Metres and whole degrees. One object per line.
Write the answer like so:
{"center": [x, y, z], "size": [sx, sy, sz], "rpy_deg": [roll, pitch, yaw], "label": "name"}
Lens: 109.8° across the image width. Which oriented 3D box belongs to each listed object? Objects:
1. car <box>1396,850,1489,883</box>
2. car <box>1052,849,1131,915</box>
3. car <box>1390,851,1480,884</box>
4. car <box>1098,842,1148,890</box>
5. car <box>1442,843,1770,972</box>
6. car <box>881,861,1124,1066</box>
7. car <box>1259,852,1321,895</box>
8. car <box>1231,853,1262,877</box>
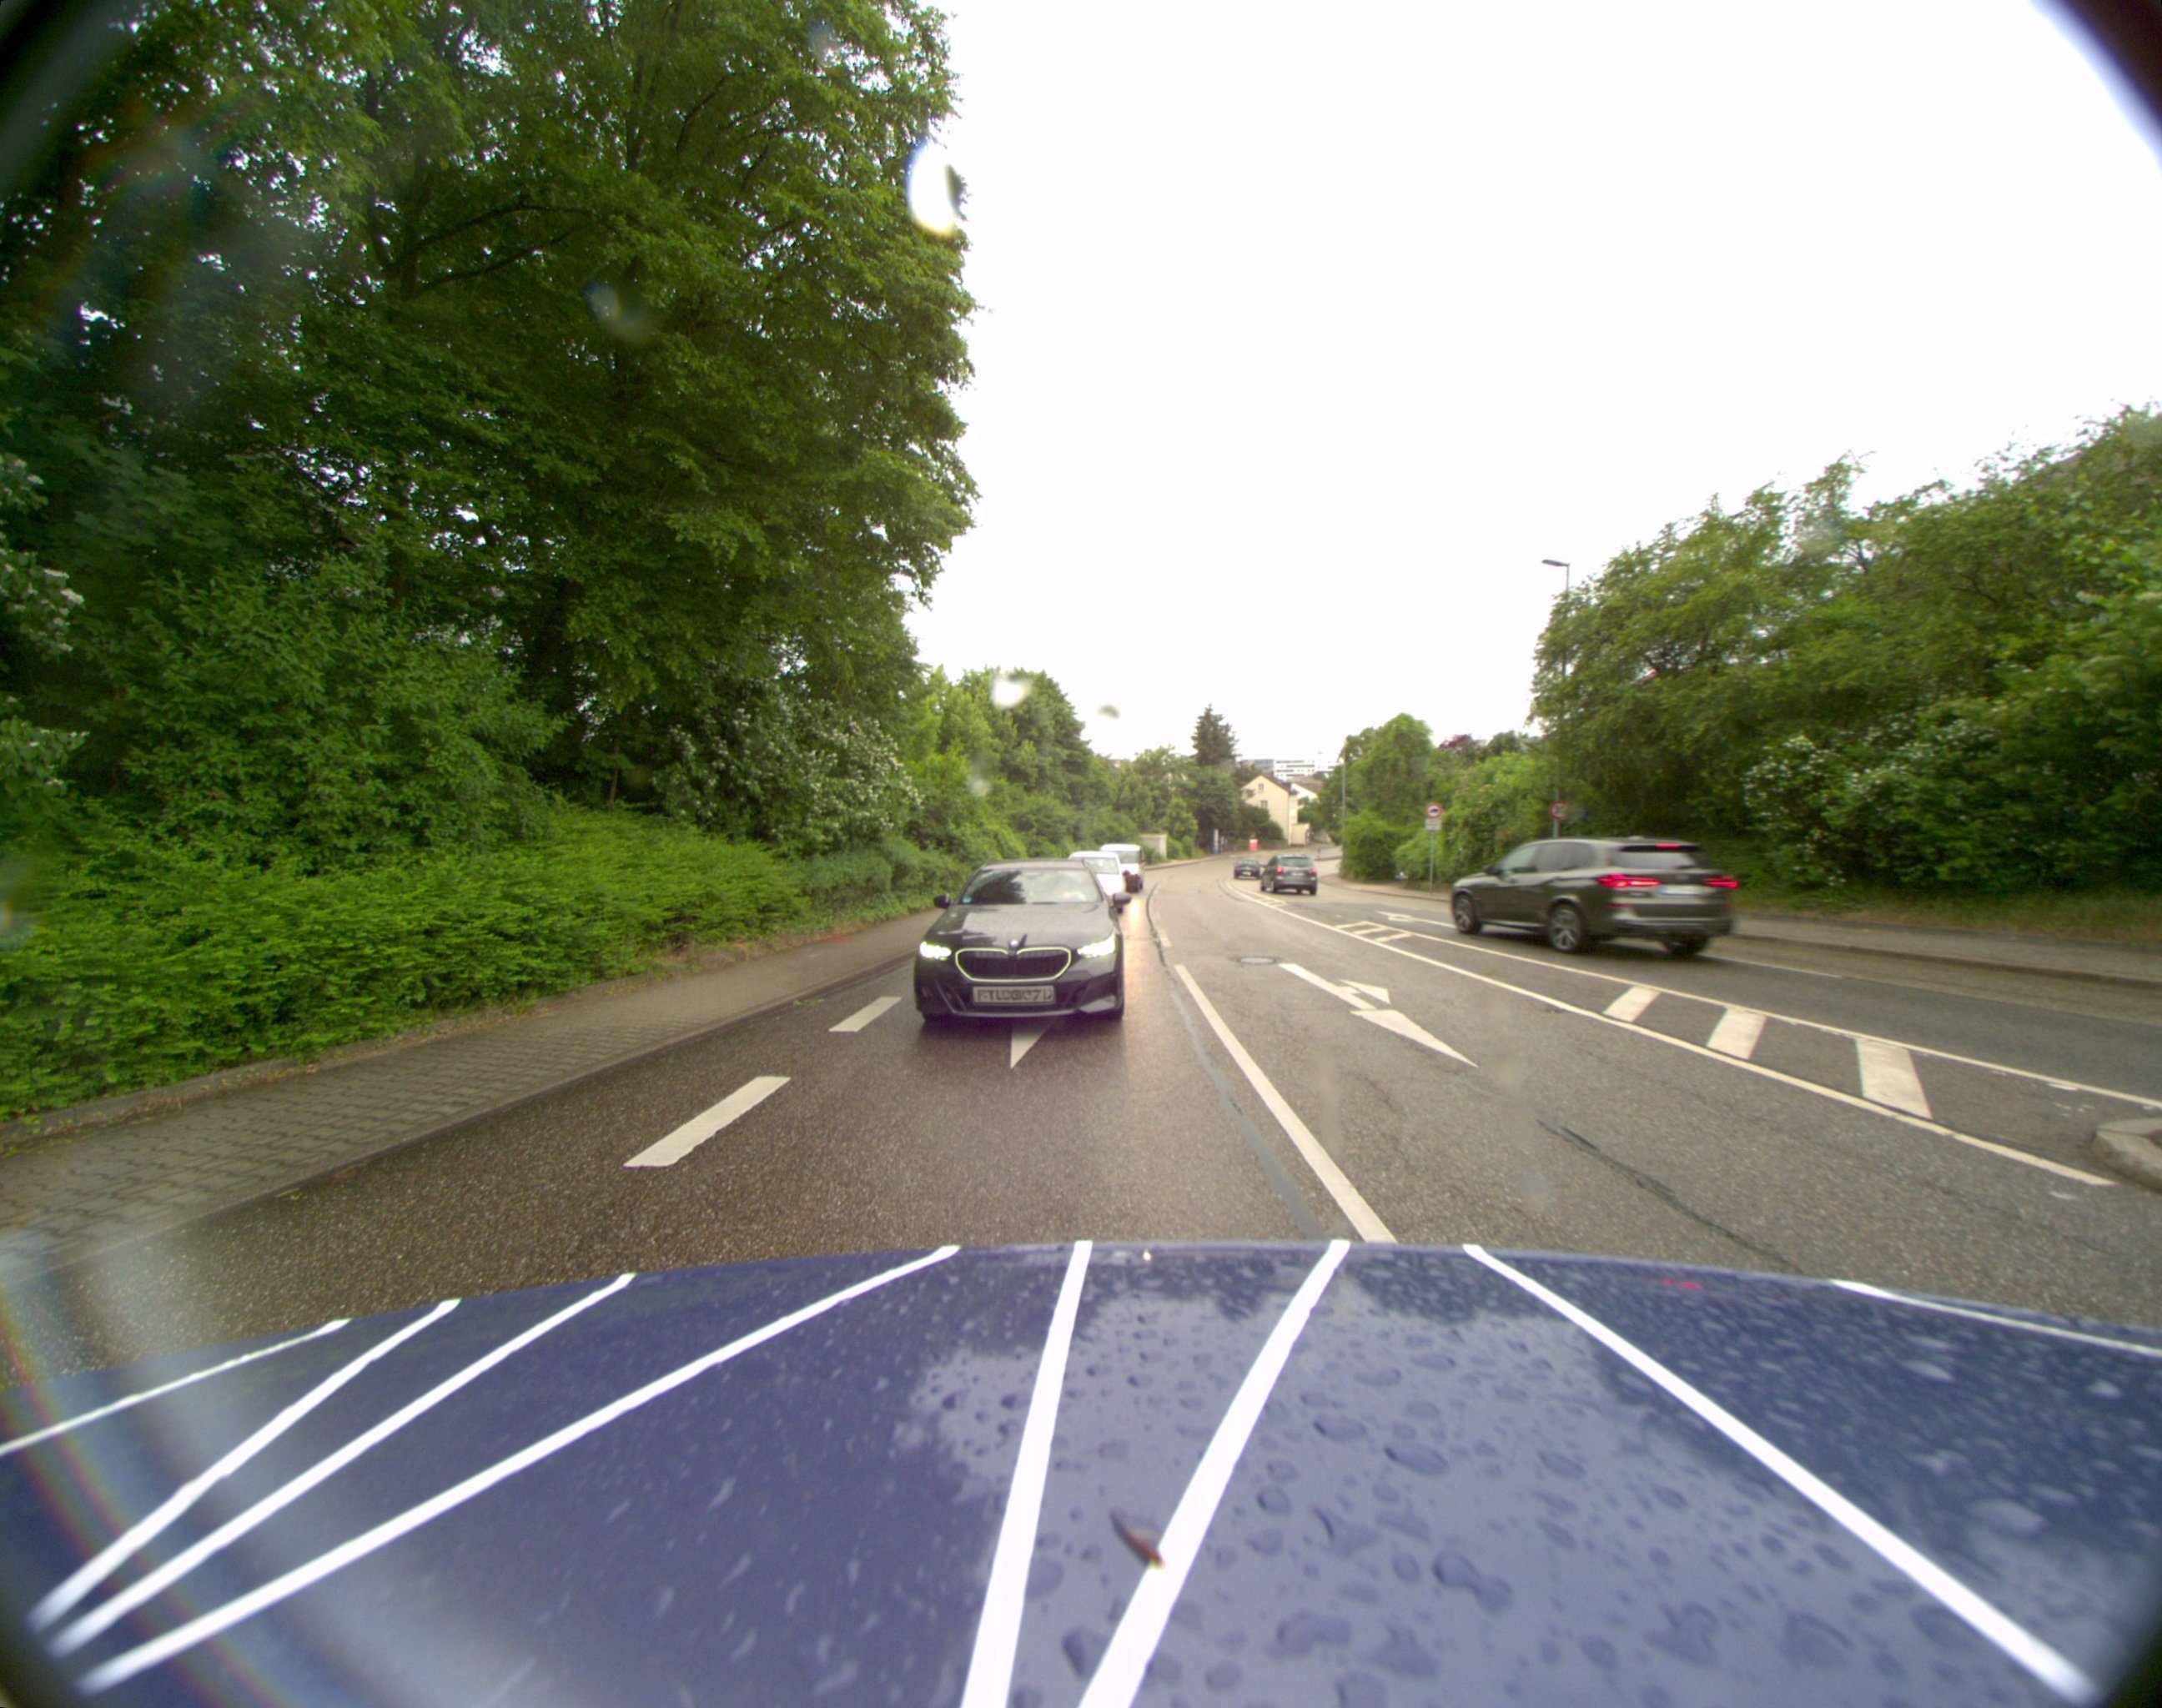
{"center": [18.534, 0.617, 39.155], "size": [3.908, 1.432, 1.812], "rpy_deg": [-4, 0, 9], "label": "car"}
{"center": [0.258, 0.653, 20.319], "size": [1.818, 1.431, 3.999], "rpy_deg": [3, 2, 0], "label": "car"}
{"center": [19.441, 0.737, 41.866], "size": [3.995, 1.527, 2.001], "rpy_deg": [-4, 0, 8], "label": "car"}
{"center": [1.598, 0.446, 30.138], "size": [1.777, 1.764, 4.000], "rpy_deg": [0, 0, 0], "label": "car"}
{"center": [8.073, 0.703, 12.423], "size": [1.999, 1.707, 4.716], "rpy_deg": [0, 0, -2], "label": "car"}
{"center": [-0.524, 0.890, 8.171], "size": [1.872, 1.497, 4.198], "rpy_deg": [1, 1, 4], "label": "car"}
{"center": [8.478, 0.736, 31.156], "size": [1.746, 1.593, 4.033], "rpy_deg": [1, 0, 5], "label": "car"}
{"center": [11.238, 0.725, 51.681], "size": [1.898, 1.500, 4.003], "rpy_deg": [1, 0, 10], "label": "car"}
